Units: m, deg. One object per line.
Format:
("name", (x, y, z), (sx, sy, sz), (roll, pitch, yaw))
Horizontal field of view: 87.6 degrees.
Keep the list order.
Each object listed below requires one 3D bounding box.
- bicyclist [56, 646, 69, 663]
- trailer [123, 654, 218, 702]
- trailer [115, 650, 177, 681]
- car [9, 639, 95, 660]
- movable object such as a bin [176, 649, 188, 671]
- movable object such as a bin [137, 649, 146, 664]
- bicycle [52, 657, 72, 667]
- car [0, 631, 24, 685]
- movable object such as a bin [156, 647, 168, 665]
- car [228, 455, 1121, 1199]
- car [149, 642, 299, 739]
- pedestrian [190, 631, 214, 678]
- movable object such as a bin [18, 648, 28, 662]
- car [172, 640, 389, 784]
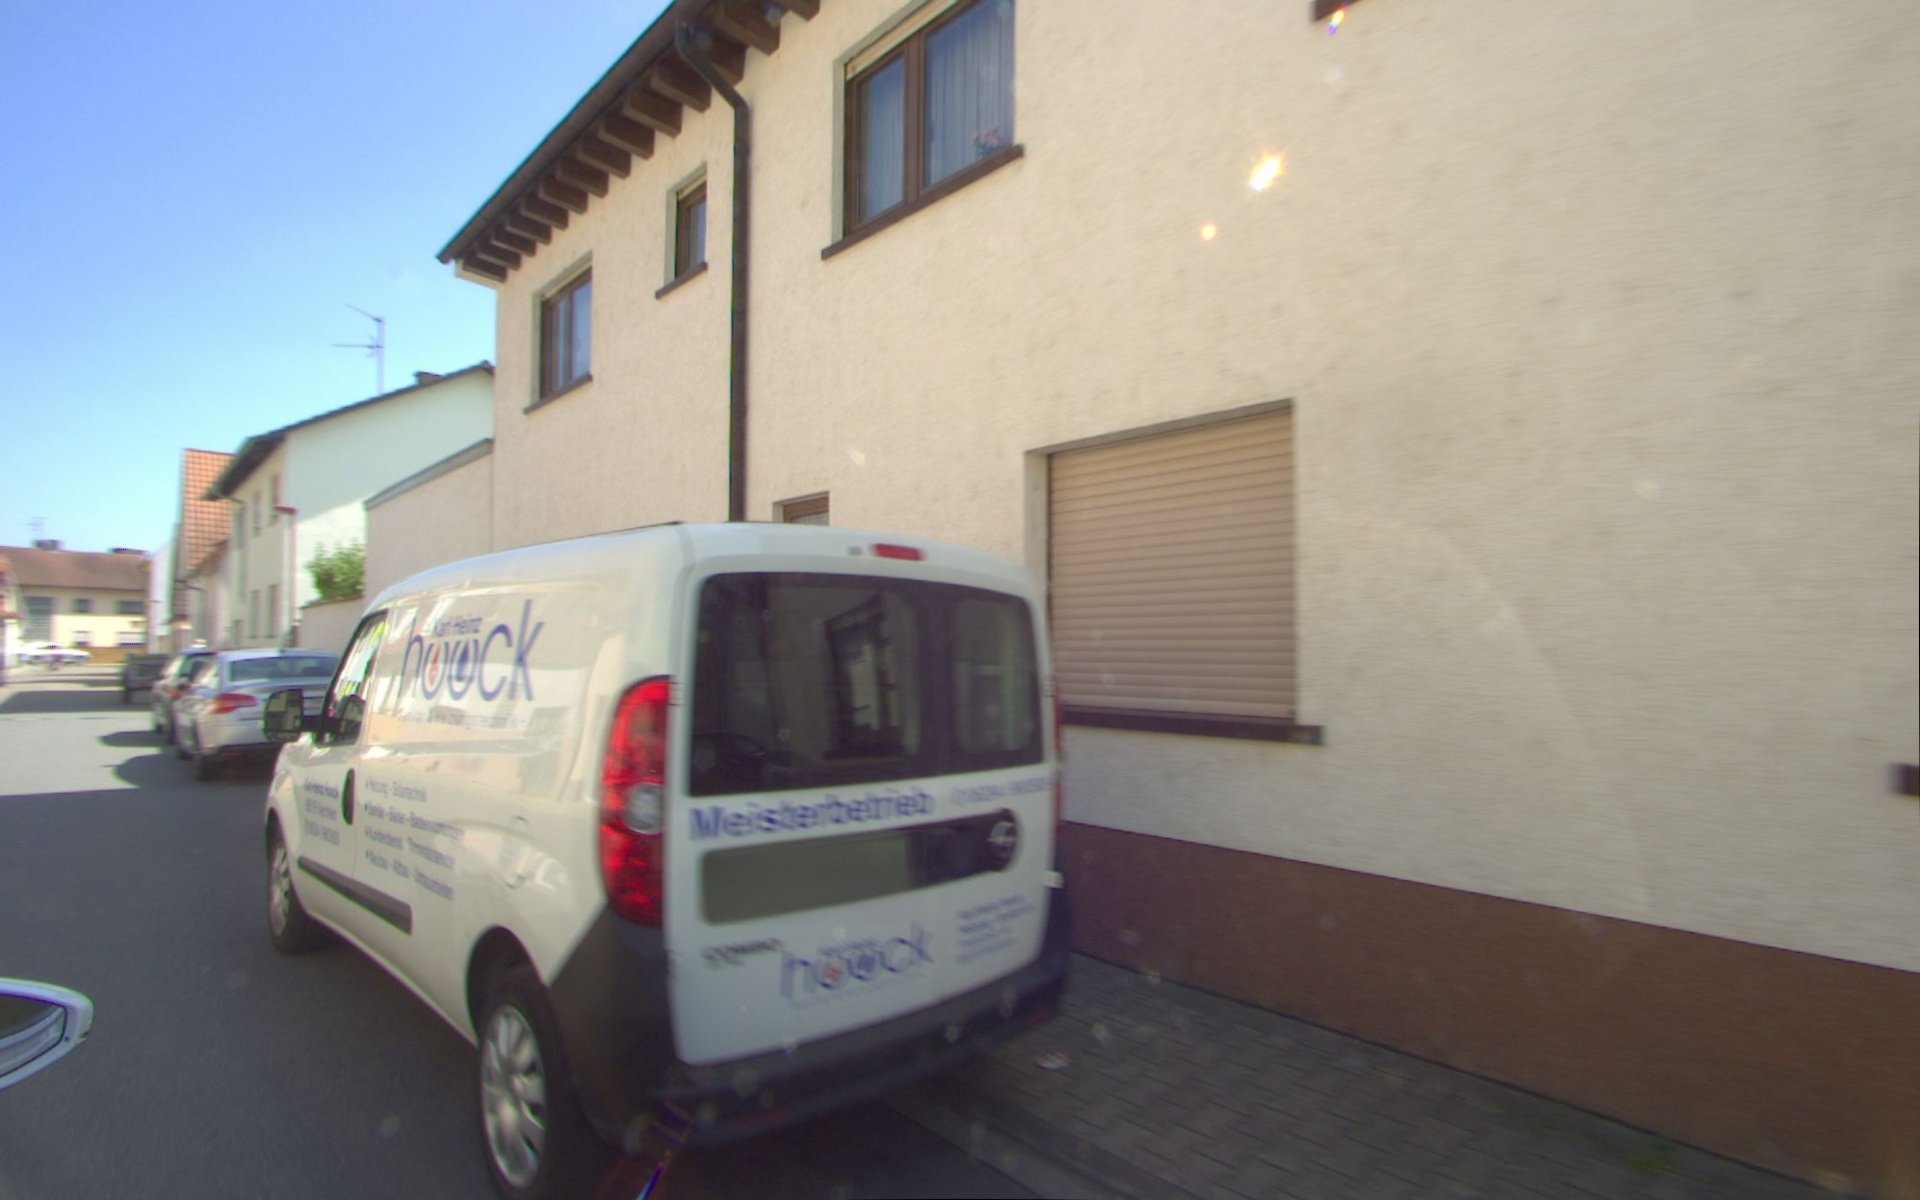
("bicyclist", (-52.397, 3.189, 58.472), (0.345, 0.971, 0.462), (-1, -1, 16))
("trailer", (-20.429, 1.962, 25.887), (1.803, 1.104, 3.453), (2, -3, -39))
("trailer", (-30.075, 2.392, 36.991), (1.687, 1.046, 3.452), (2, -3, -40))
("car", (-71.566, 3.863, 78.999), (1.770, 1.605, 4.759), (-1, -3, 19))
("movable object such as a bin", (-39.446, 3.042, 50.773), (0.454, 1.101, 0.498), (1, -2, -41))
("movable object such as a bin", (-52.219, 3.605, 63.894), (0.421, 0.987, 0.469), (1, -2, -43))
("bicycle", (-52.430, 3.640, 58.476), (0.922, 0.574, 0.442), (0, -2, 18))
("car", (-32.211, 1.904, 32.972), (1.786, 1.725, 4.450), (0, -2, -40))
("movable object such as a bin", (-49.523, 3.474, 62.126), (0.522, 1.142, 0.363), (1, -2, -43))
("car", (-1.760, 0.753, 4.488), (1.799, 1.846, 4.805), (5, -5, -43))
("car", (-12.640, 1.453, 17.095), (1.638, 1.454, 4.097), (2, -3, -42))
("pedestrian", (-25.954, 1.864, 34.305), (0.591, 1.582, 0.552), (2, -6, -43))
("movable object such as a bin", (-60.320, 3.540, 64.433), (0.445, 0.932, 0.400), (1, -2, -43))
("car", (-9.057, 1.306, 13.141), (1.777, 1.500, 4.891), (0, -2, -41))
